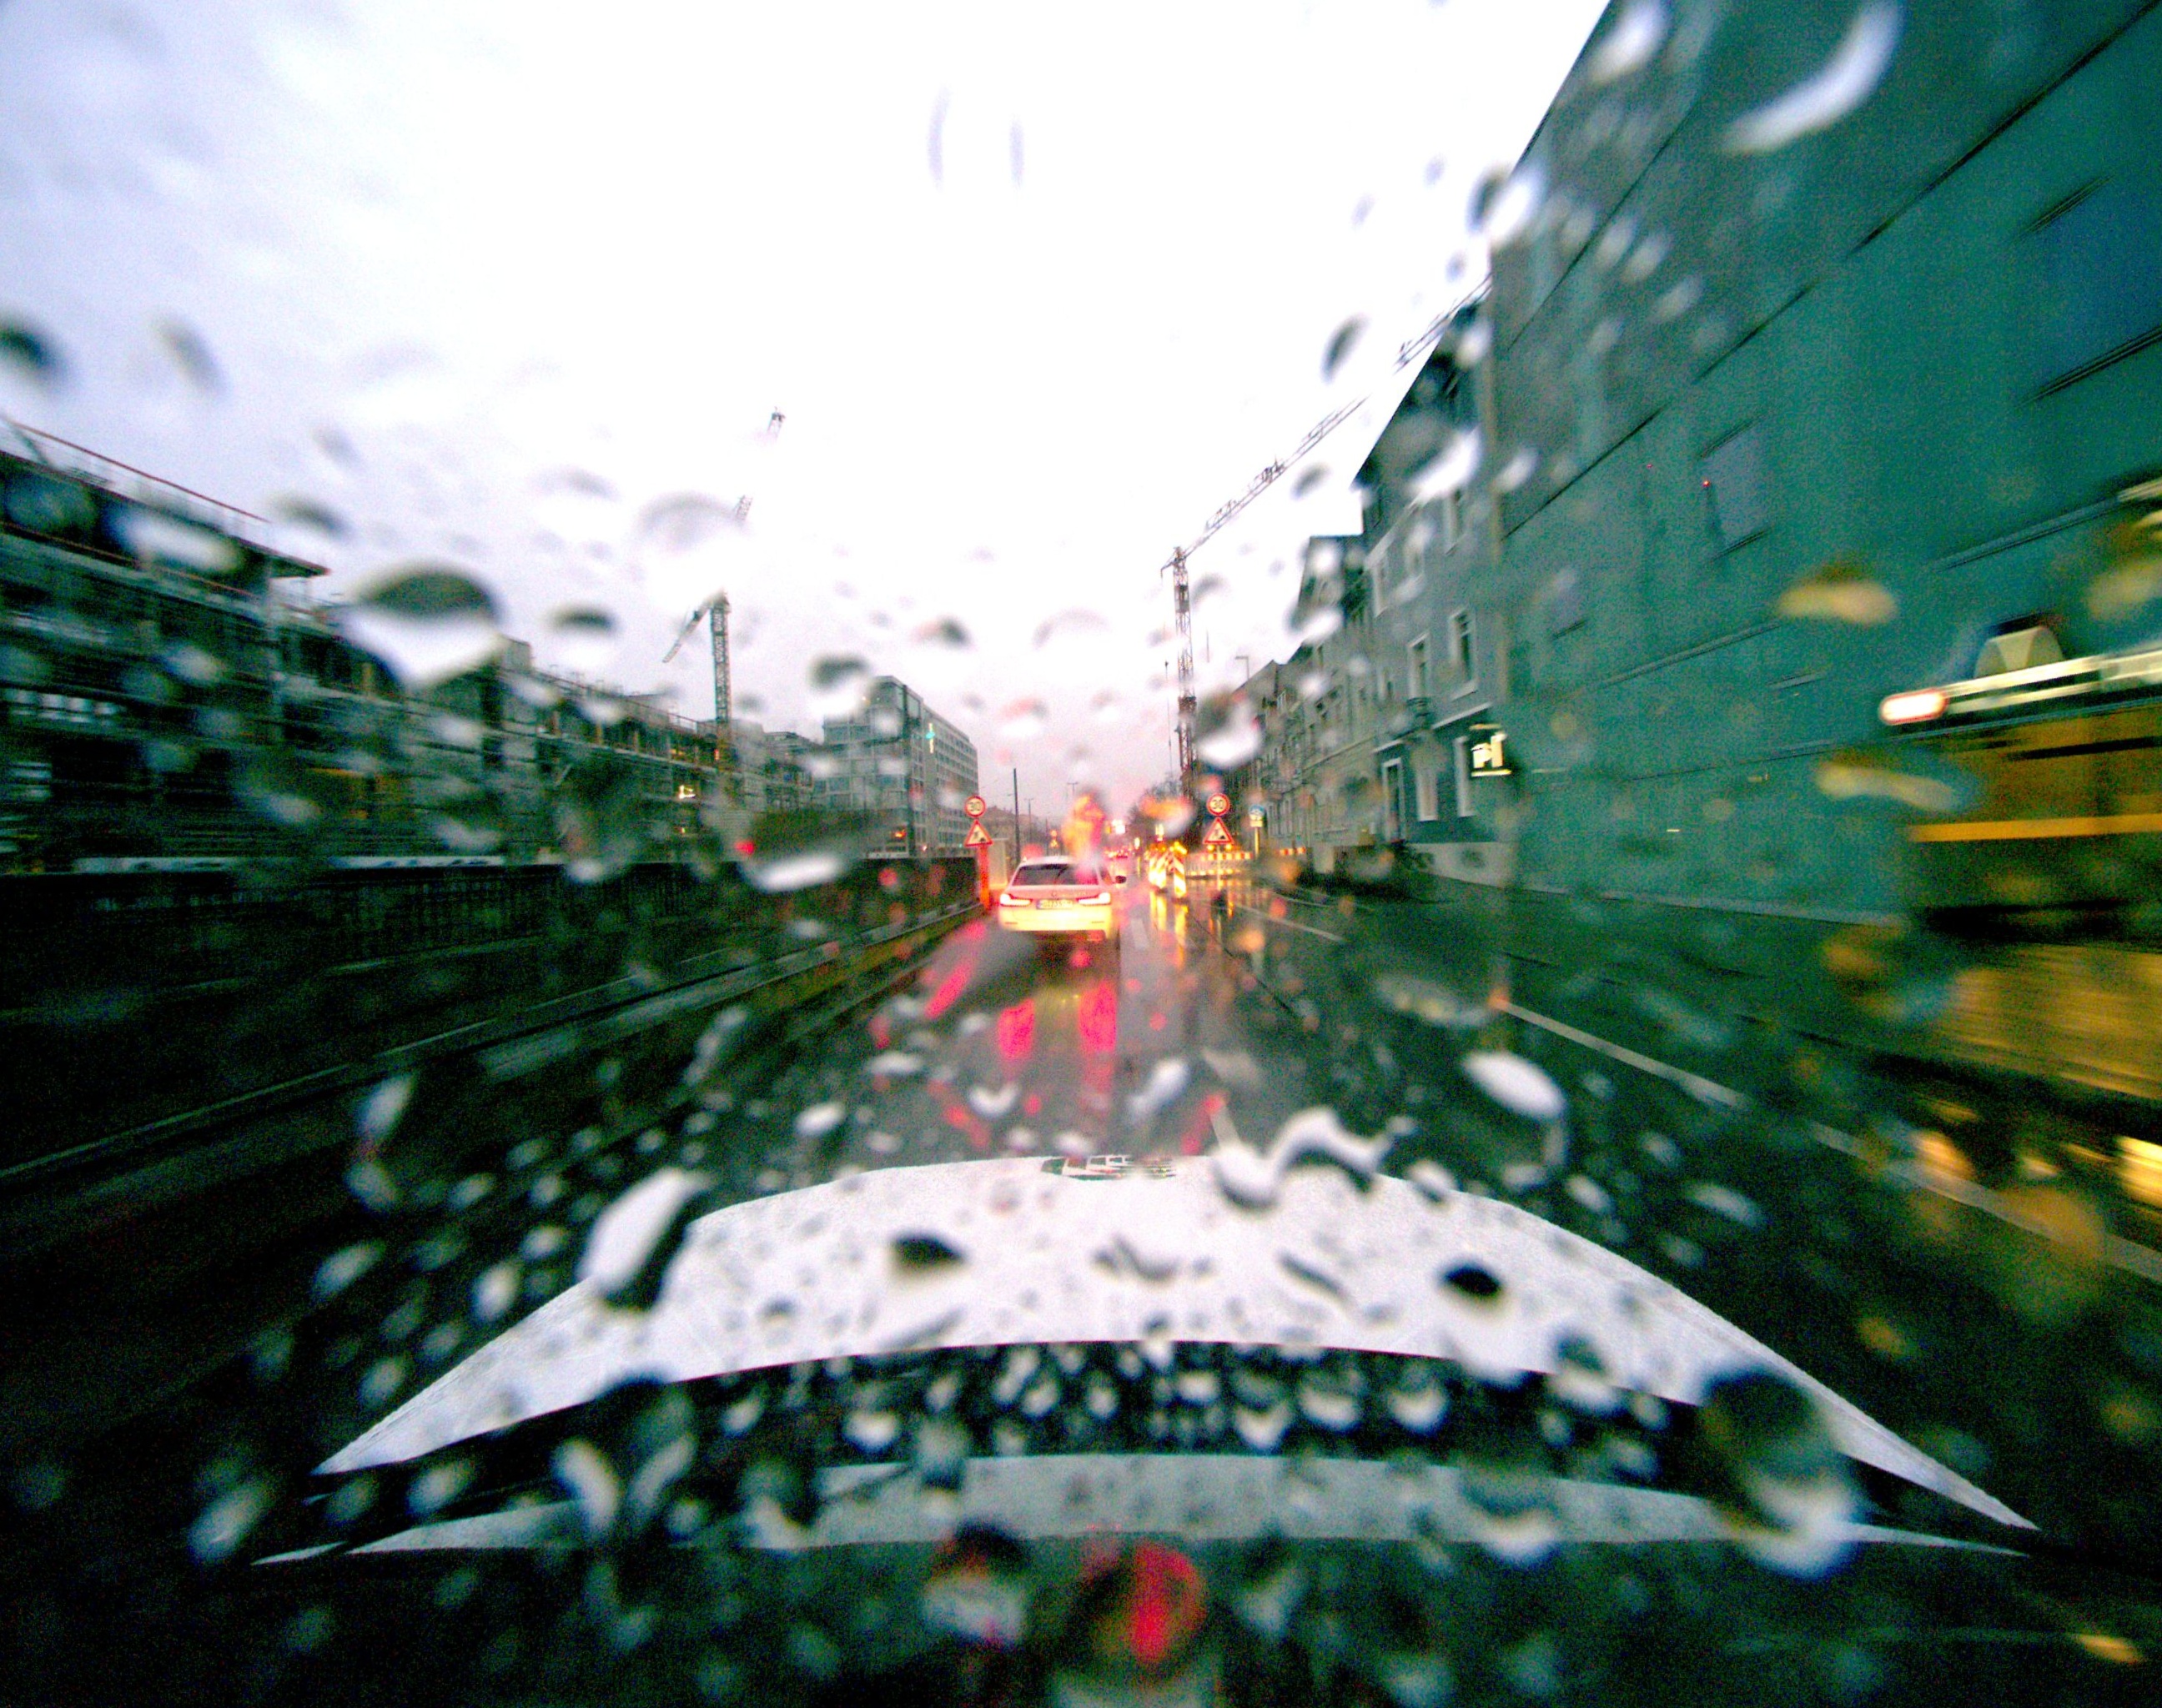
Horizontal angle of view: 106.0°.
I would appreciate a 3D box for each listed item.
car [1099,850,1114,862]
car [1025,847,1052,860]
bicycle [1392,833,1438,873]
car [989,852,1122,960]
[{"bbox_3d":[3.654,0.297,116.314,1.893,1.641,4.003,-2,0,3],"label":"car"},{"bbox_3d":[-7.027,-0.068,133.782,3.995,1.975,1.989,-2,0,-16],"label":"car"},{"bbox_3d":[11.013,-0.022,26.900,0.680,1.222,1.906,-5,0,2],"label":"bicycle"},{"bbox_3d":[-0.265,0.732,13.985,1.845,1.465,4.949,-2,0,2],"label":"car"}]
